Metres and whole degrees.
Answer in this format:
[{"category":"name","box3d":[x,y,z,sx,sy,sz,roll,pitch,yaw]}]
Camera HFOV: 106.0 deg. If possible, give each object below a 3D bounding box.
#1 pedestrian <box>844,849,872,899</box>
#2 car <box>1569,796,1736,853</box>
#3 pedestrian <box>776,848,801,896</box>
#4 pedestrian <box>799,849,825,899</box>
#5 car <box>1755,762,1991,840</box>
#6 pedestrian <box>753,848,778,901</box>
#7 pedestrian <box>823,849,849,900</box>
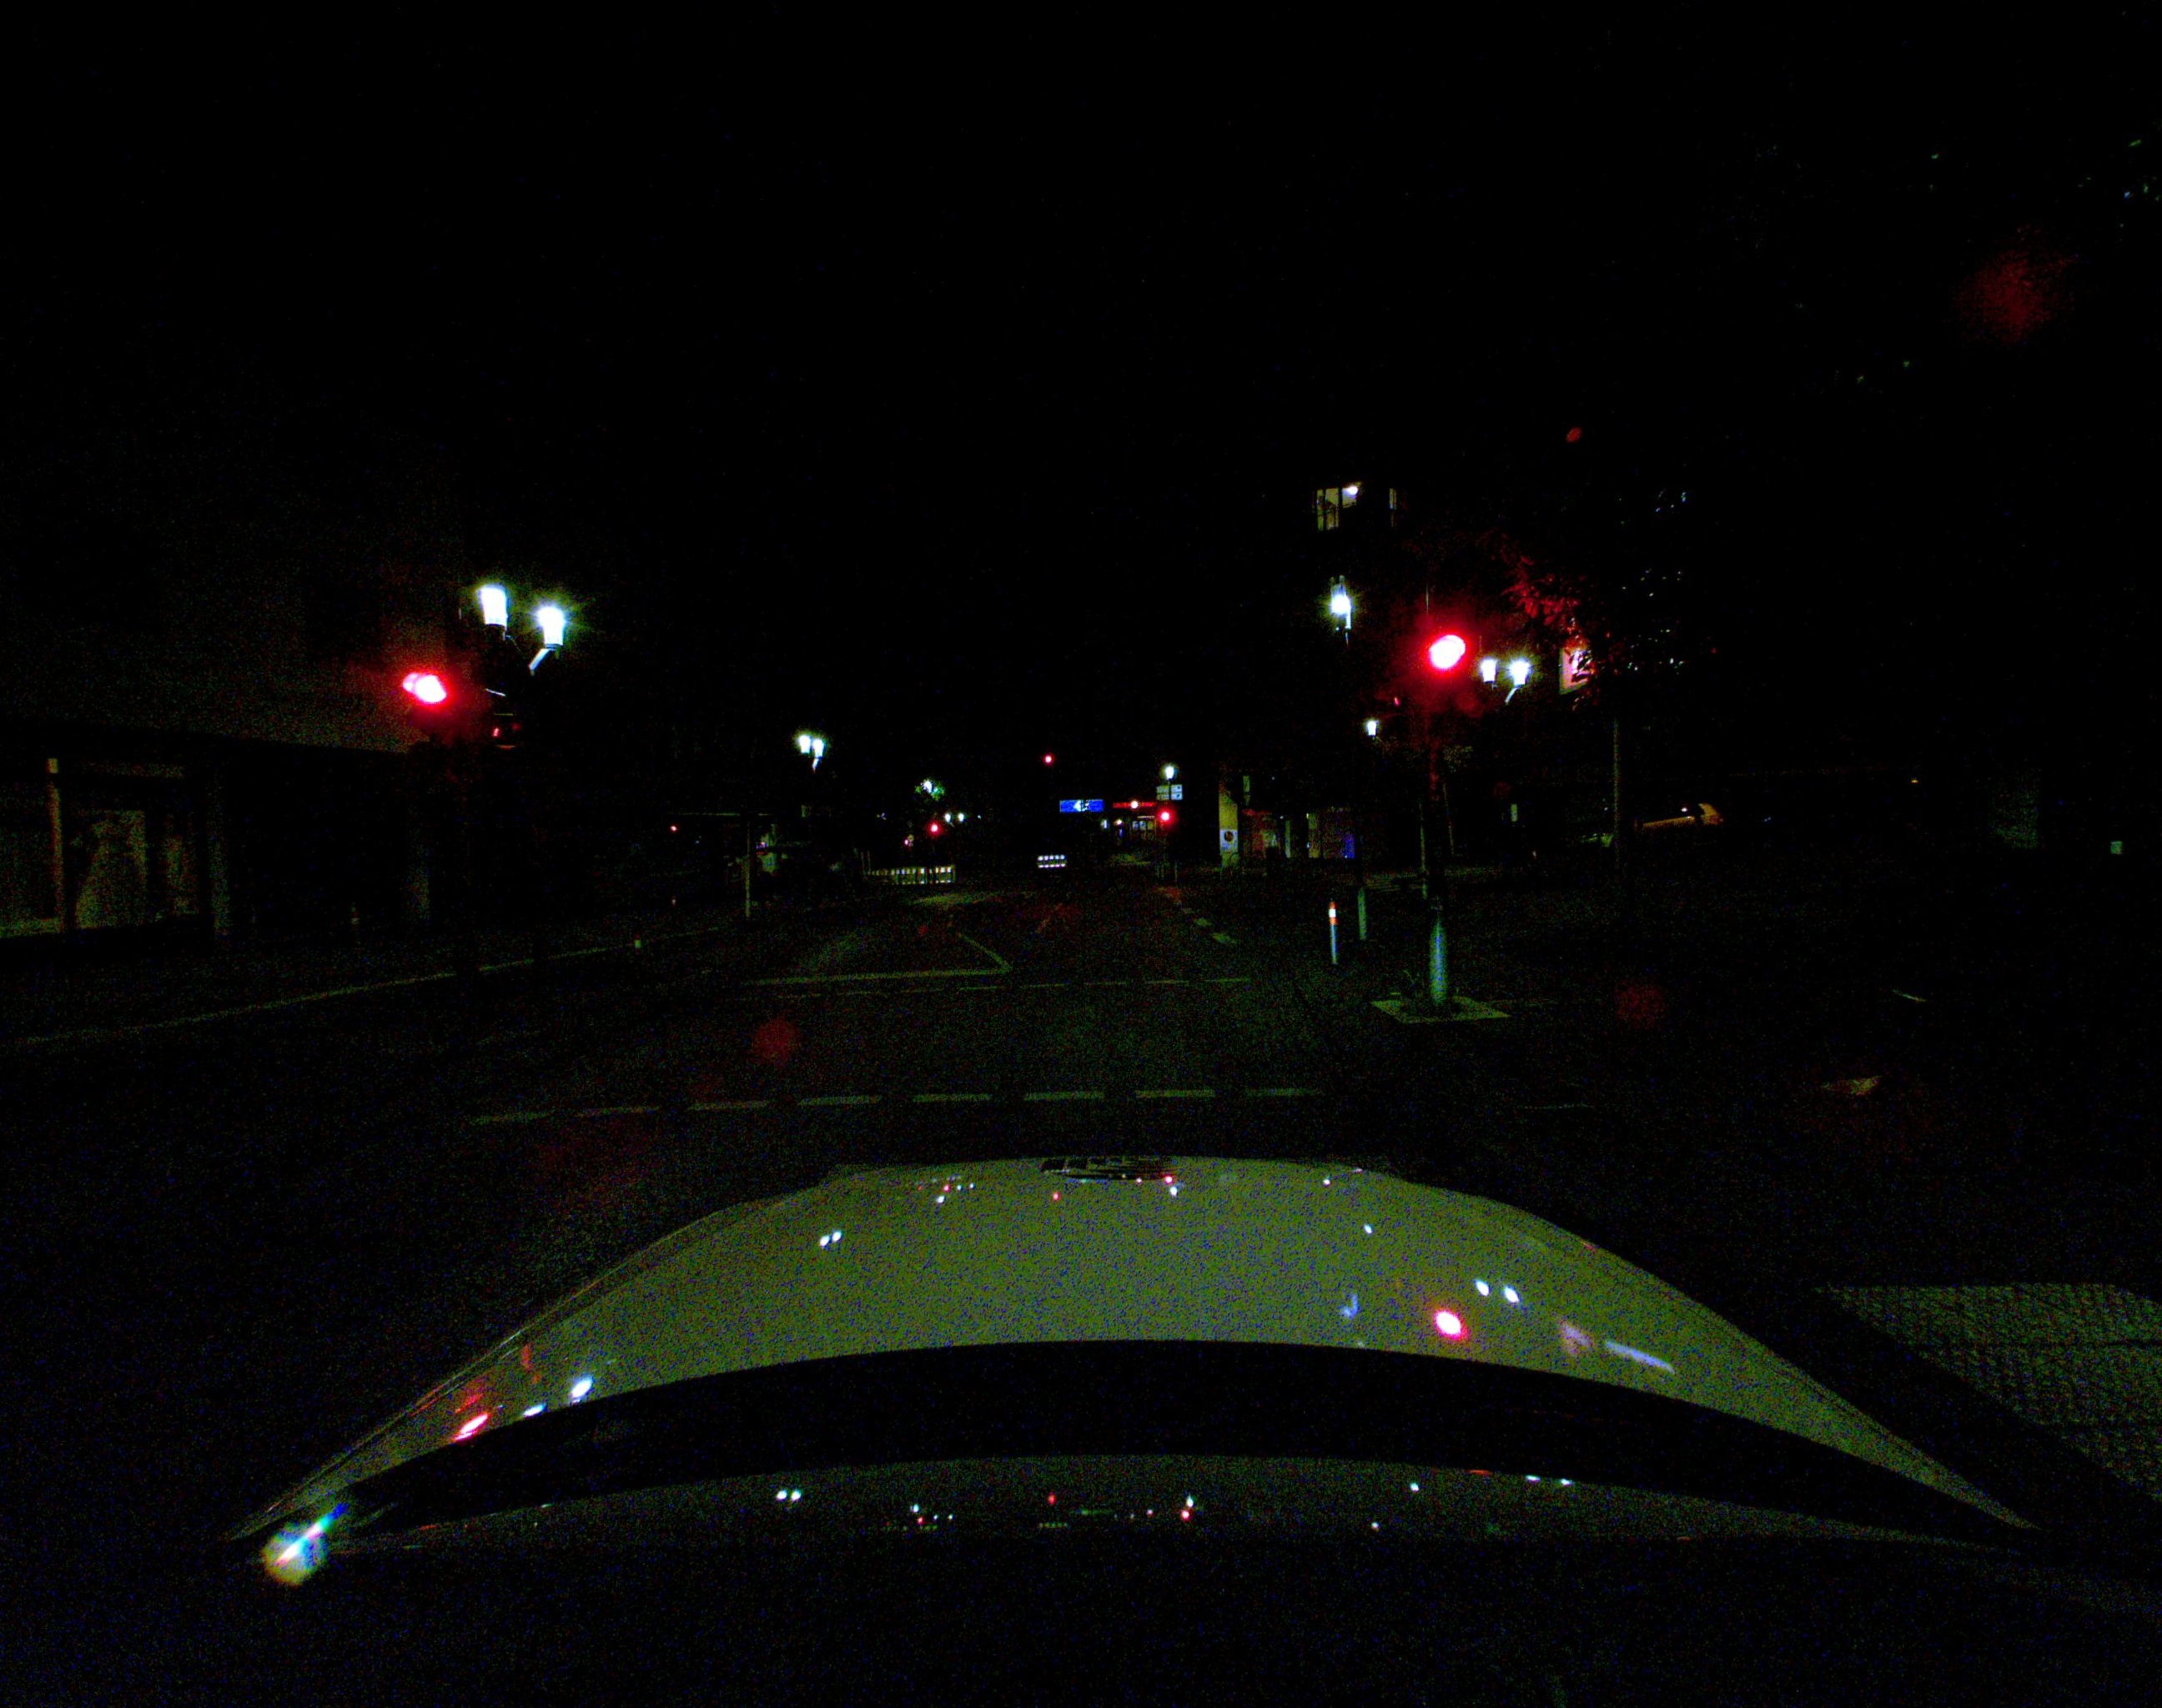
[{"category":"pedestrian","box3d":[-8.250,0.746,30.158,0.709,1.795,0.741,-1,-2,23]},{"category":"car","box3d":[18.495,-0.938,26.542,4.019,1.452,1.830,-4,0,8]},{"category":"pedestrian","box3d":[-11.023,0.684,30.710,0.712,1.795,0.571,-1,-2,8]},{"category":"pedestrian","box3d":[-9.671,0.714,29.284,0.712,1.795,0.571,-1,-2,8]},{"category":"car","box3d":[23.396,-1.467,24.404,4.783,1.910,2.172,-2,-2,37]},{"category":"pedestrian","box3d":[-10.875,0.706,28.069,0.716,1.795,0.567,0,-2,-10]},{"category":"pedestrian","box3d":[-8.871,0.744,29.482,0.712,1.795,0.571,-1,-2,8]}]
